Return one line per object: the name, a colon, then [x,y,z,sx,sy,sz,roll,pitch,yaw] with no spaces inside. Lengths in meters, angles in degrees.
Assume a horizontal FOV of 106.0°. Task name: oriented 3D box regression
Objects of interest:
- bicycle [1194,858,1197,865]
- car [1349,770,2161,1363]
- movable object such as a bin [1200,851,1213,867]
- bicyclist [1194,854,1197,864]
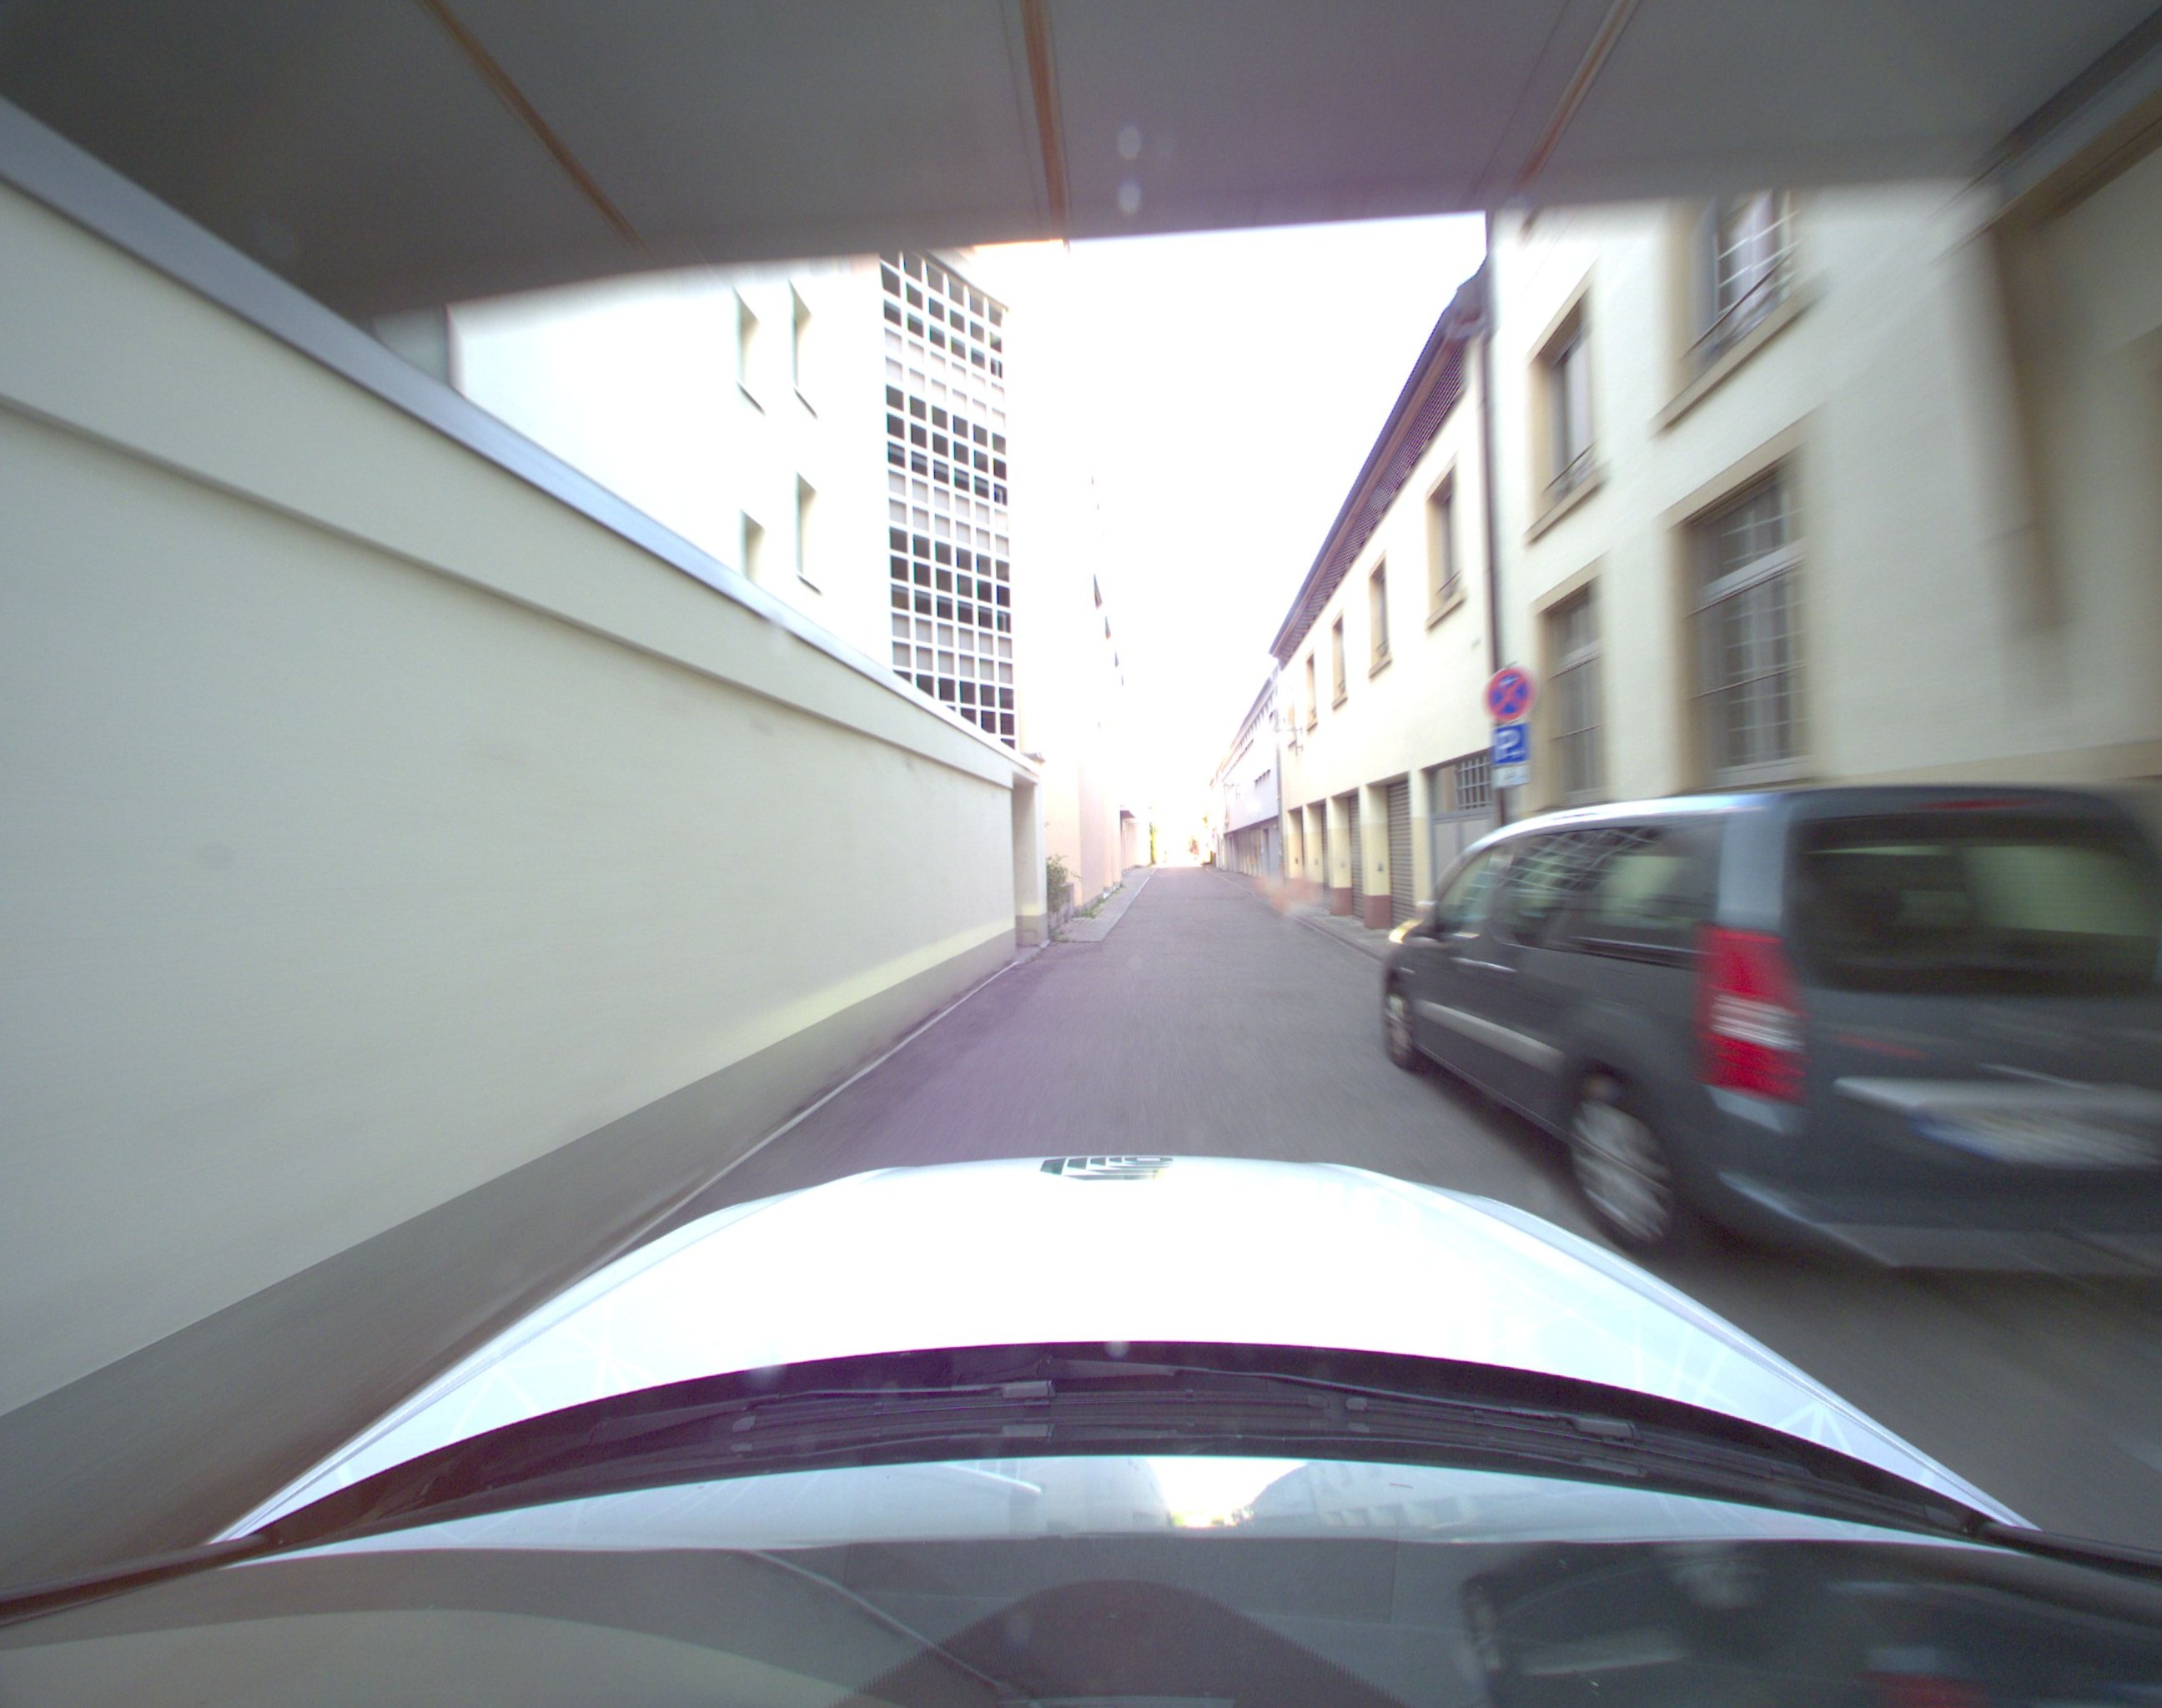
bicycle: [15.937,1.049,113.363,0.440,0.915,1.520,-1,0,9]
car: [3.023,0.634,4.513,1.847,1.756,4.165,-1,0,3]
movable object such as a bin: [11.757,0.471,76.492,1.101,1.436,1.417,-2,2,6]
bicyclist: [15.942,0.715,113.423,0.509,1.322,0.560,-1,0,8]
